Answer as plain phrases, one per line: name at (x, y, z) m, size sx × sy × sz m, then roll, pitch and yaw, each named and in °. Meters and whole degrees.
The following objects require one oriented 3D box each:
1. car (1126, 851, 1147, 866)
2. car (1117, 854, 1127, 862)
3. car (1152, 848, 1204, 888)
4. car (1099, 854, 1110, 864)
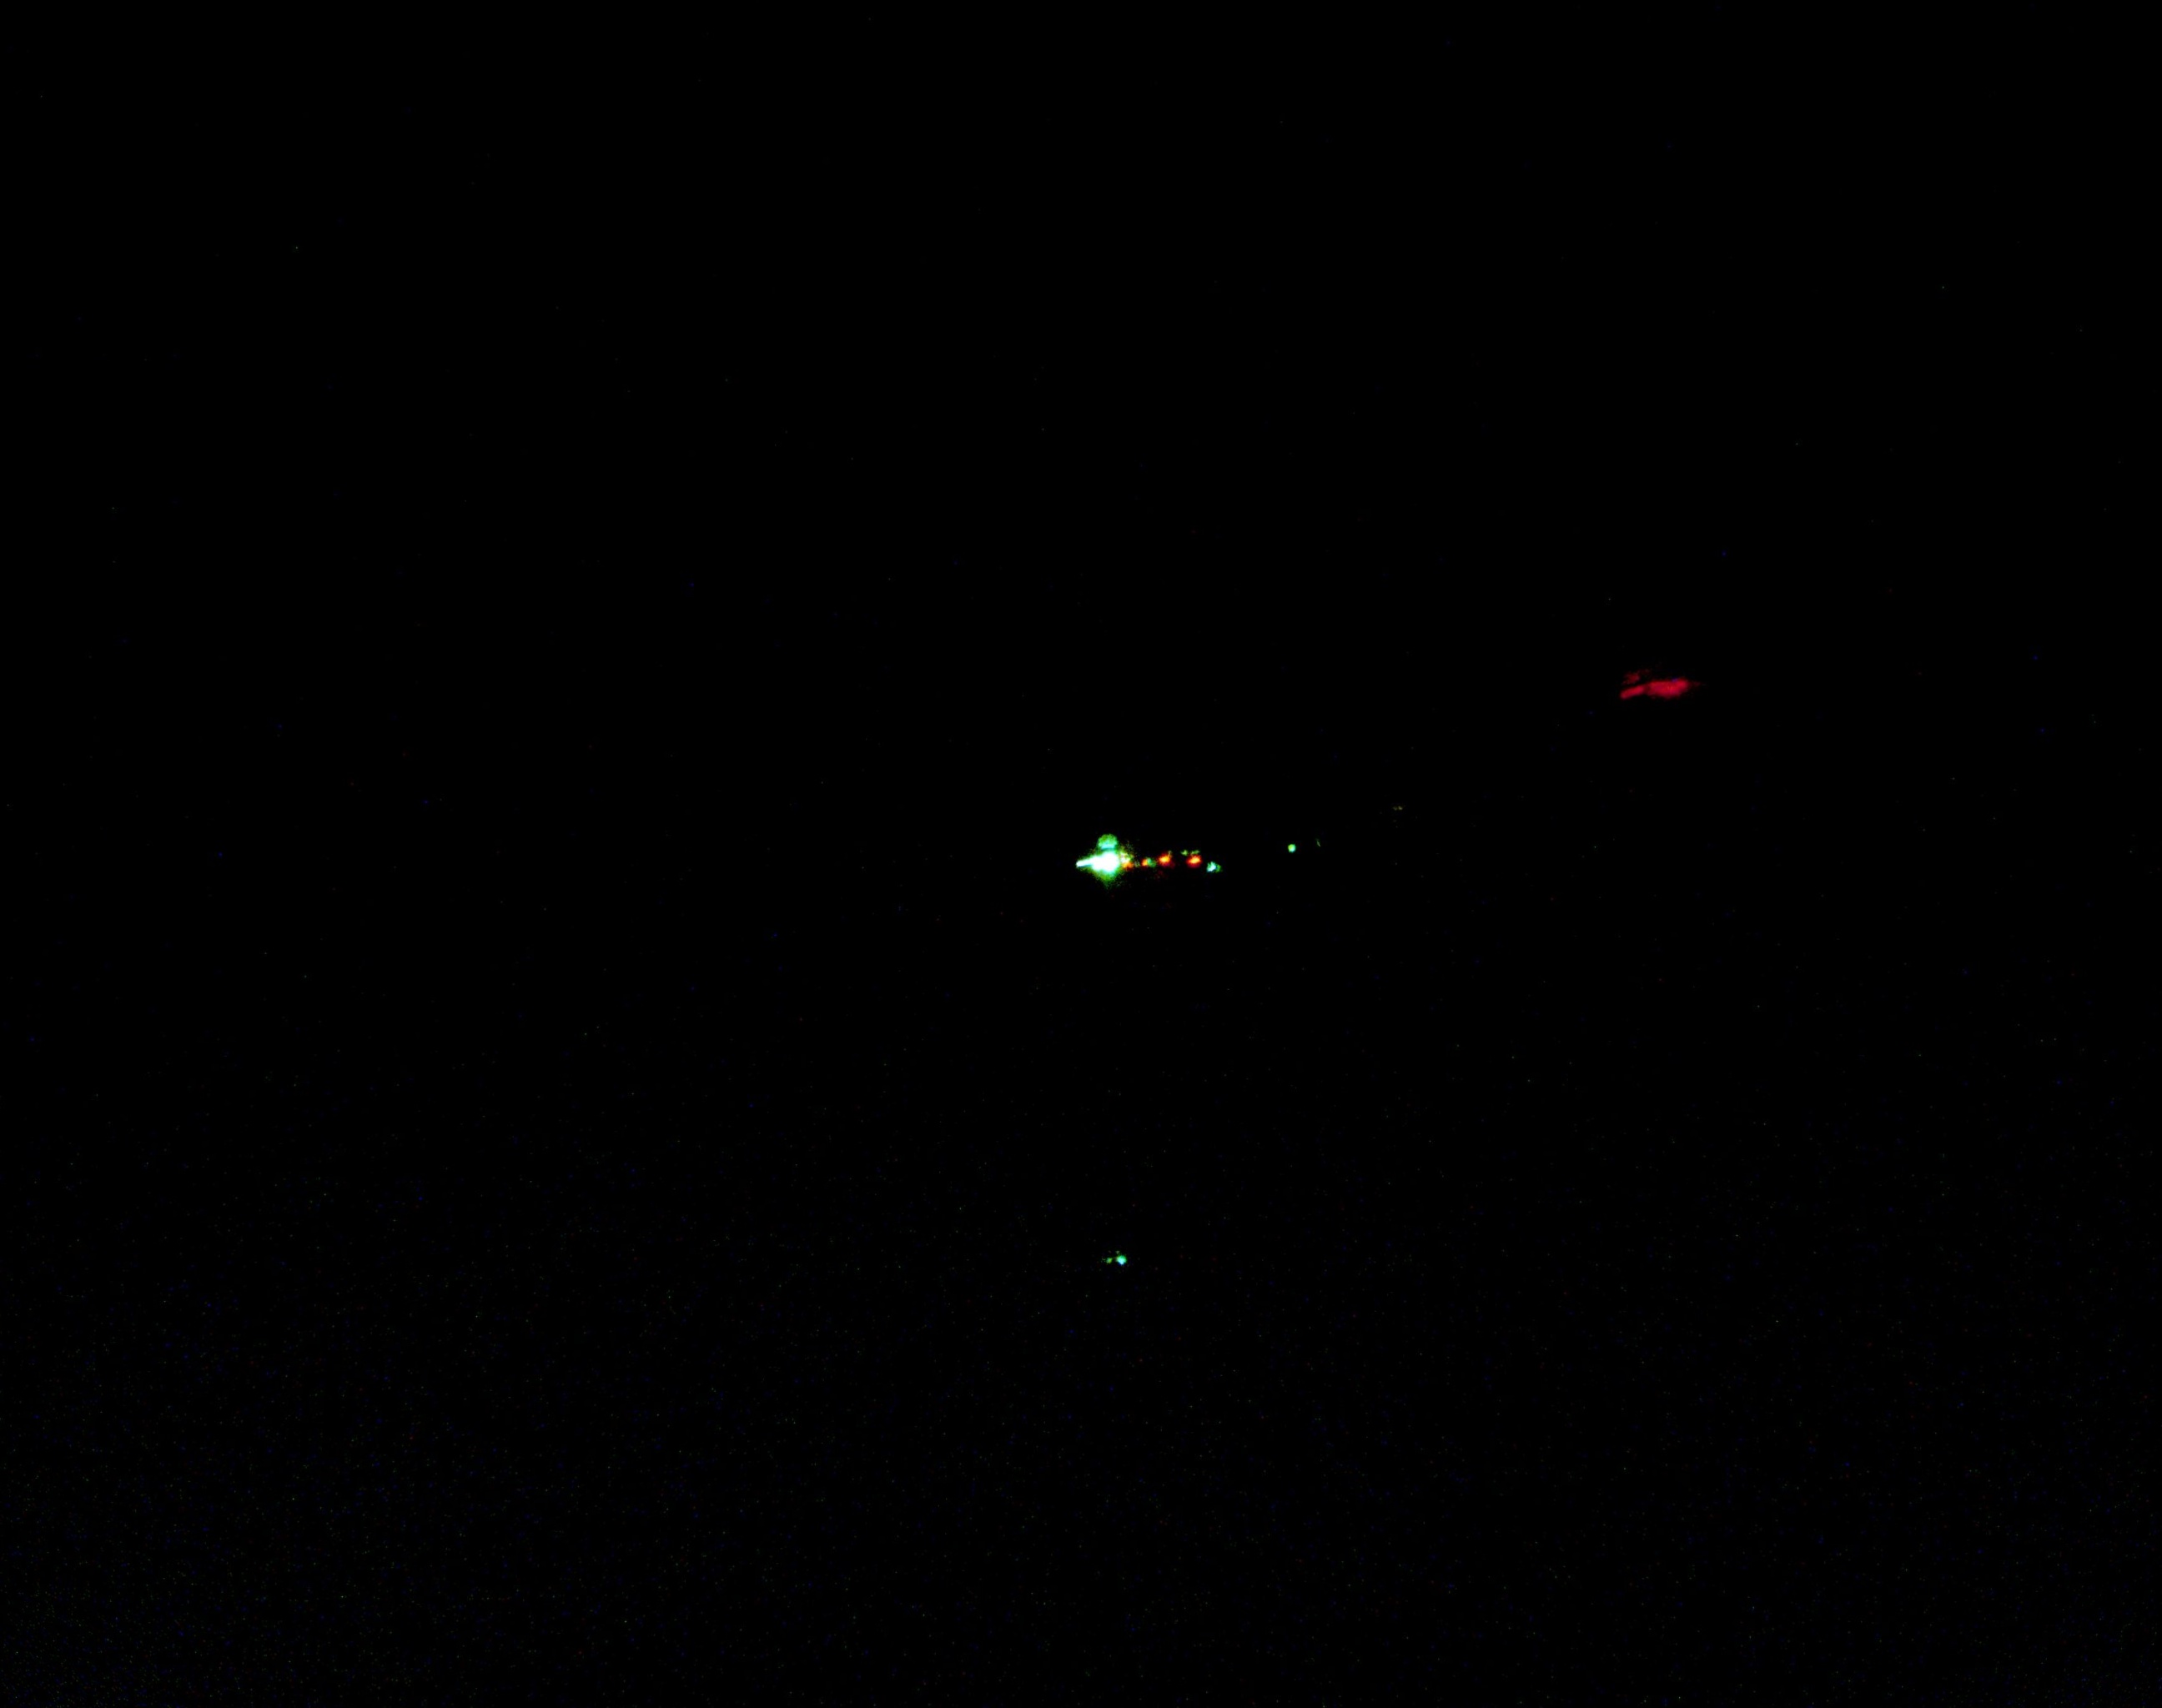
car at (5.401, 0.402, 74.317) m, size 1.872 × 1.434 × 4.464 m, roll -1°, pitch 1°, yaw 1°
car at (8.545, 0.740, 158.505) m, size 1.783 × 1.565 × 4.000 m, roll -2°, pitch 1°, yaw 2°
car at (4.167, 0.562, 33.111) m, size 1.831 × 1.608 × 3.728 m, roll -2°, pitch 1°, yaw 1°
car at (4.011, 0.886, 128.544) m, size 1.824 × 1.565 × 4.106 m, roll -2°, pitch 1°, yaw 2°
